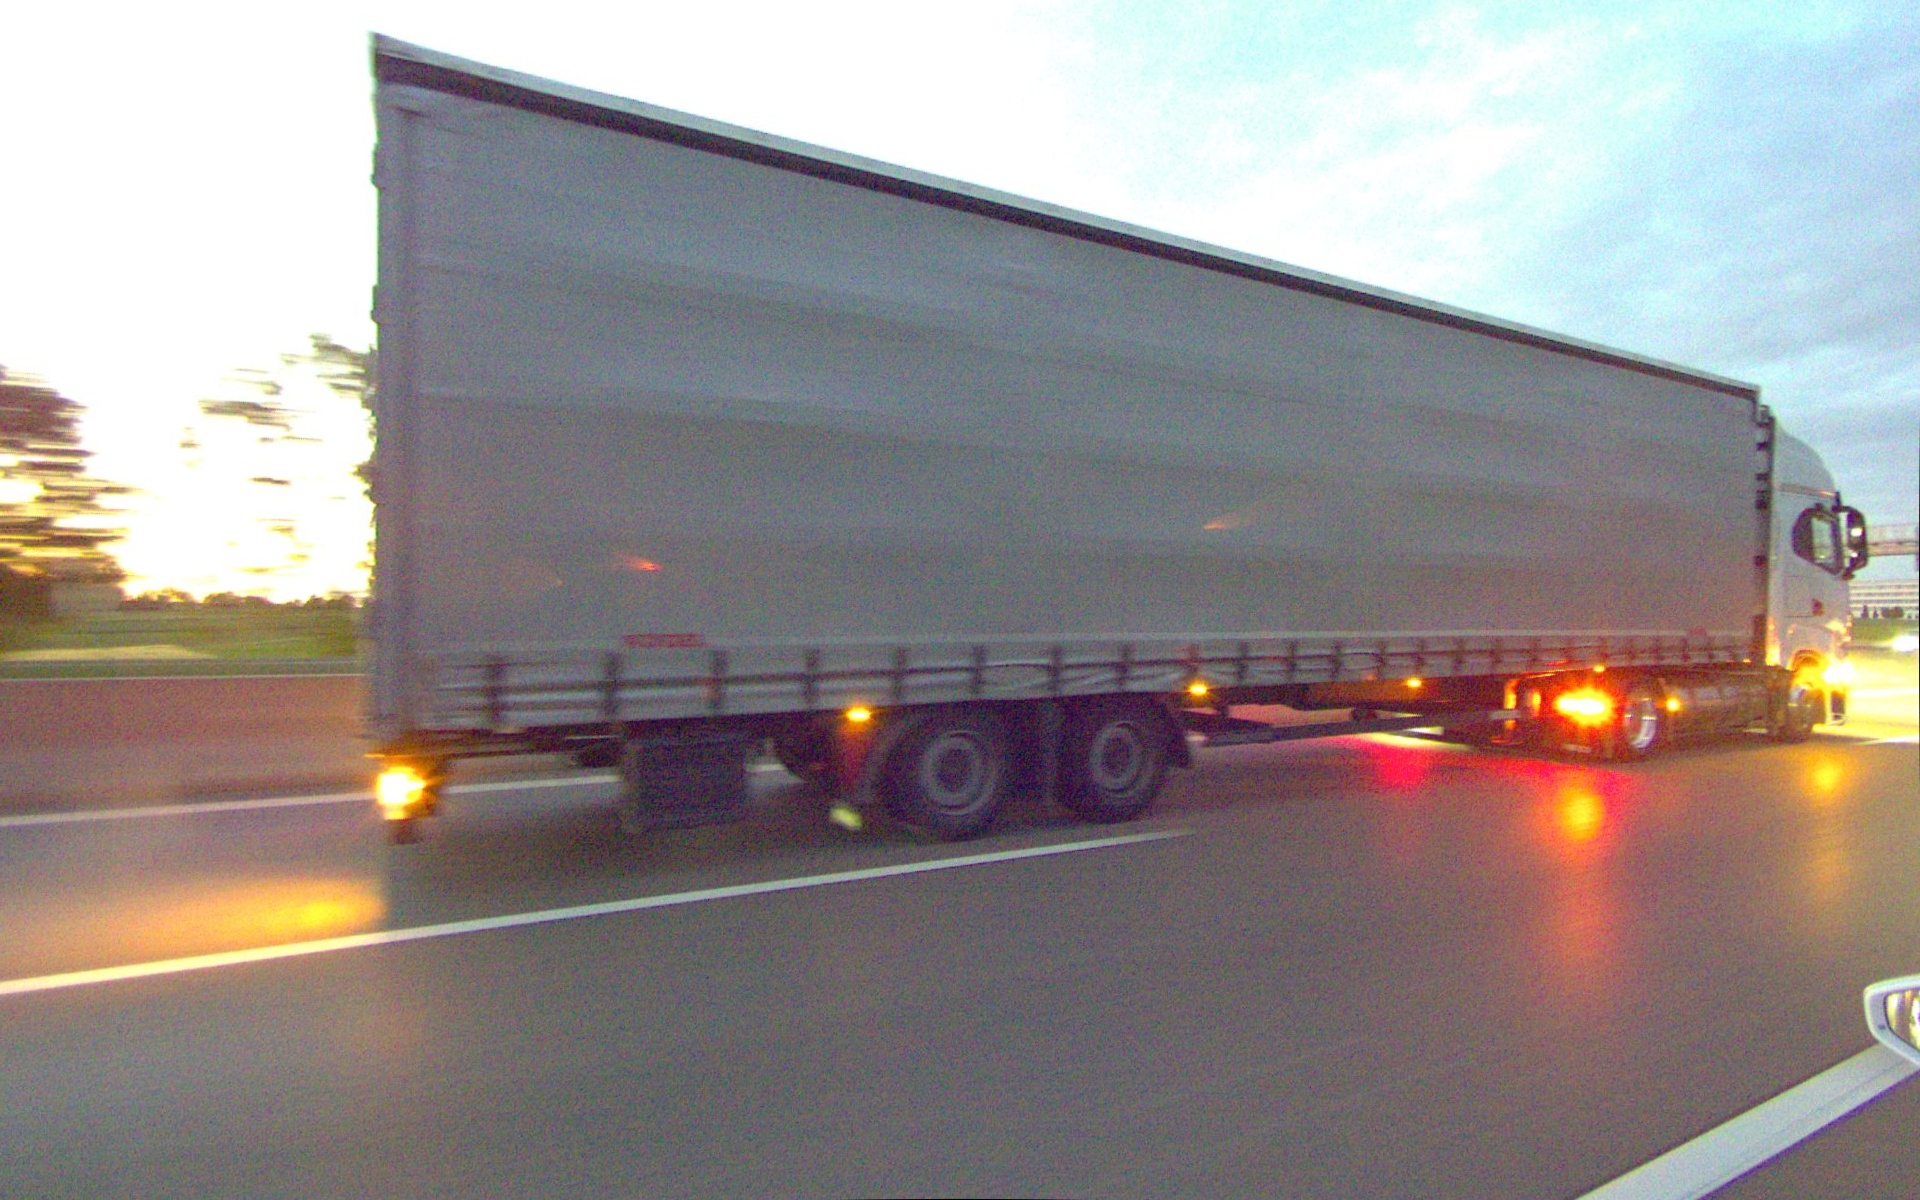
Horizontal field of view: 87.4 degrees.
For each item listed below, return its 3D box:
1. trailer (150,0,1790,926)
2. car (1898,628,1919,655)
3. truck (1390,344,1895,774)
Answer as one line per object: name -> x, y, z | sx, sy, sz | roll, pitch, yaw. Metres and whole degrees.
trailer -> 2.340, -0.495, 8.871 | 14.351, 4.139, 2.782 | 2, -1, -30
car -> 59.101, 2.579, 60.637 | 5.767, 1.541, 1.984 | 2, 0, -30
truck -> 8.479, -0.288, 12.363 | 6.029, 4.146, 2.765 | 2, -1, -29
